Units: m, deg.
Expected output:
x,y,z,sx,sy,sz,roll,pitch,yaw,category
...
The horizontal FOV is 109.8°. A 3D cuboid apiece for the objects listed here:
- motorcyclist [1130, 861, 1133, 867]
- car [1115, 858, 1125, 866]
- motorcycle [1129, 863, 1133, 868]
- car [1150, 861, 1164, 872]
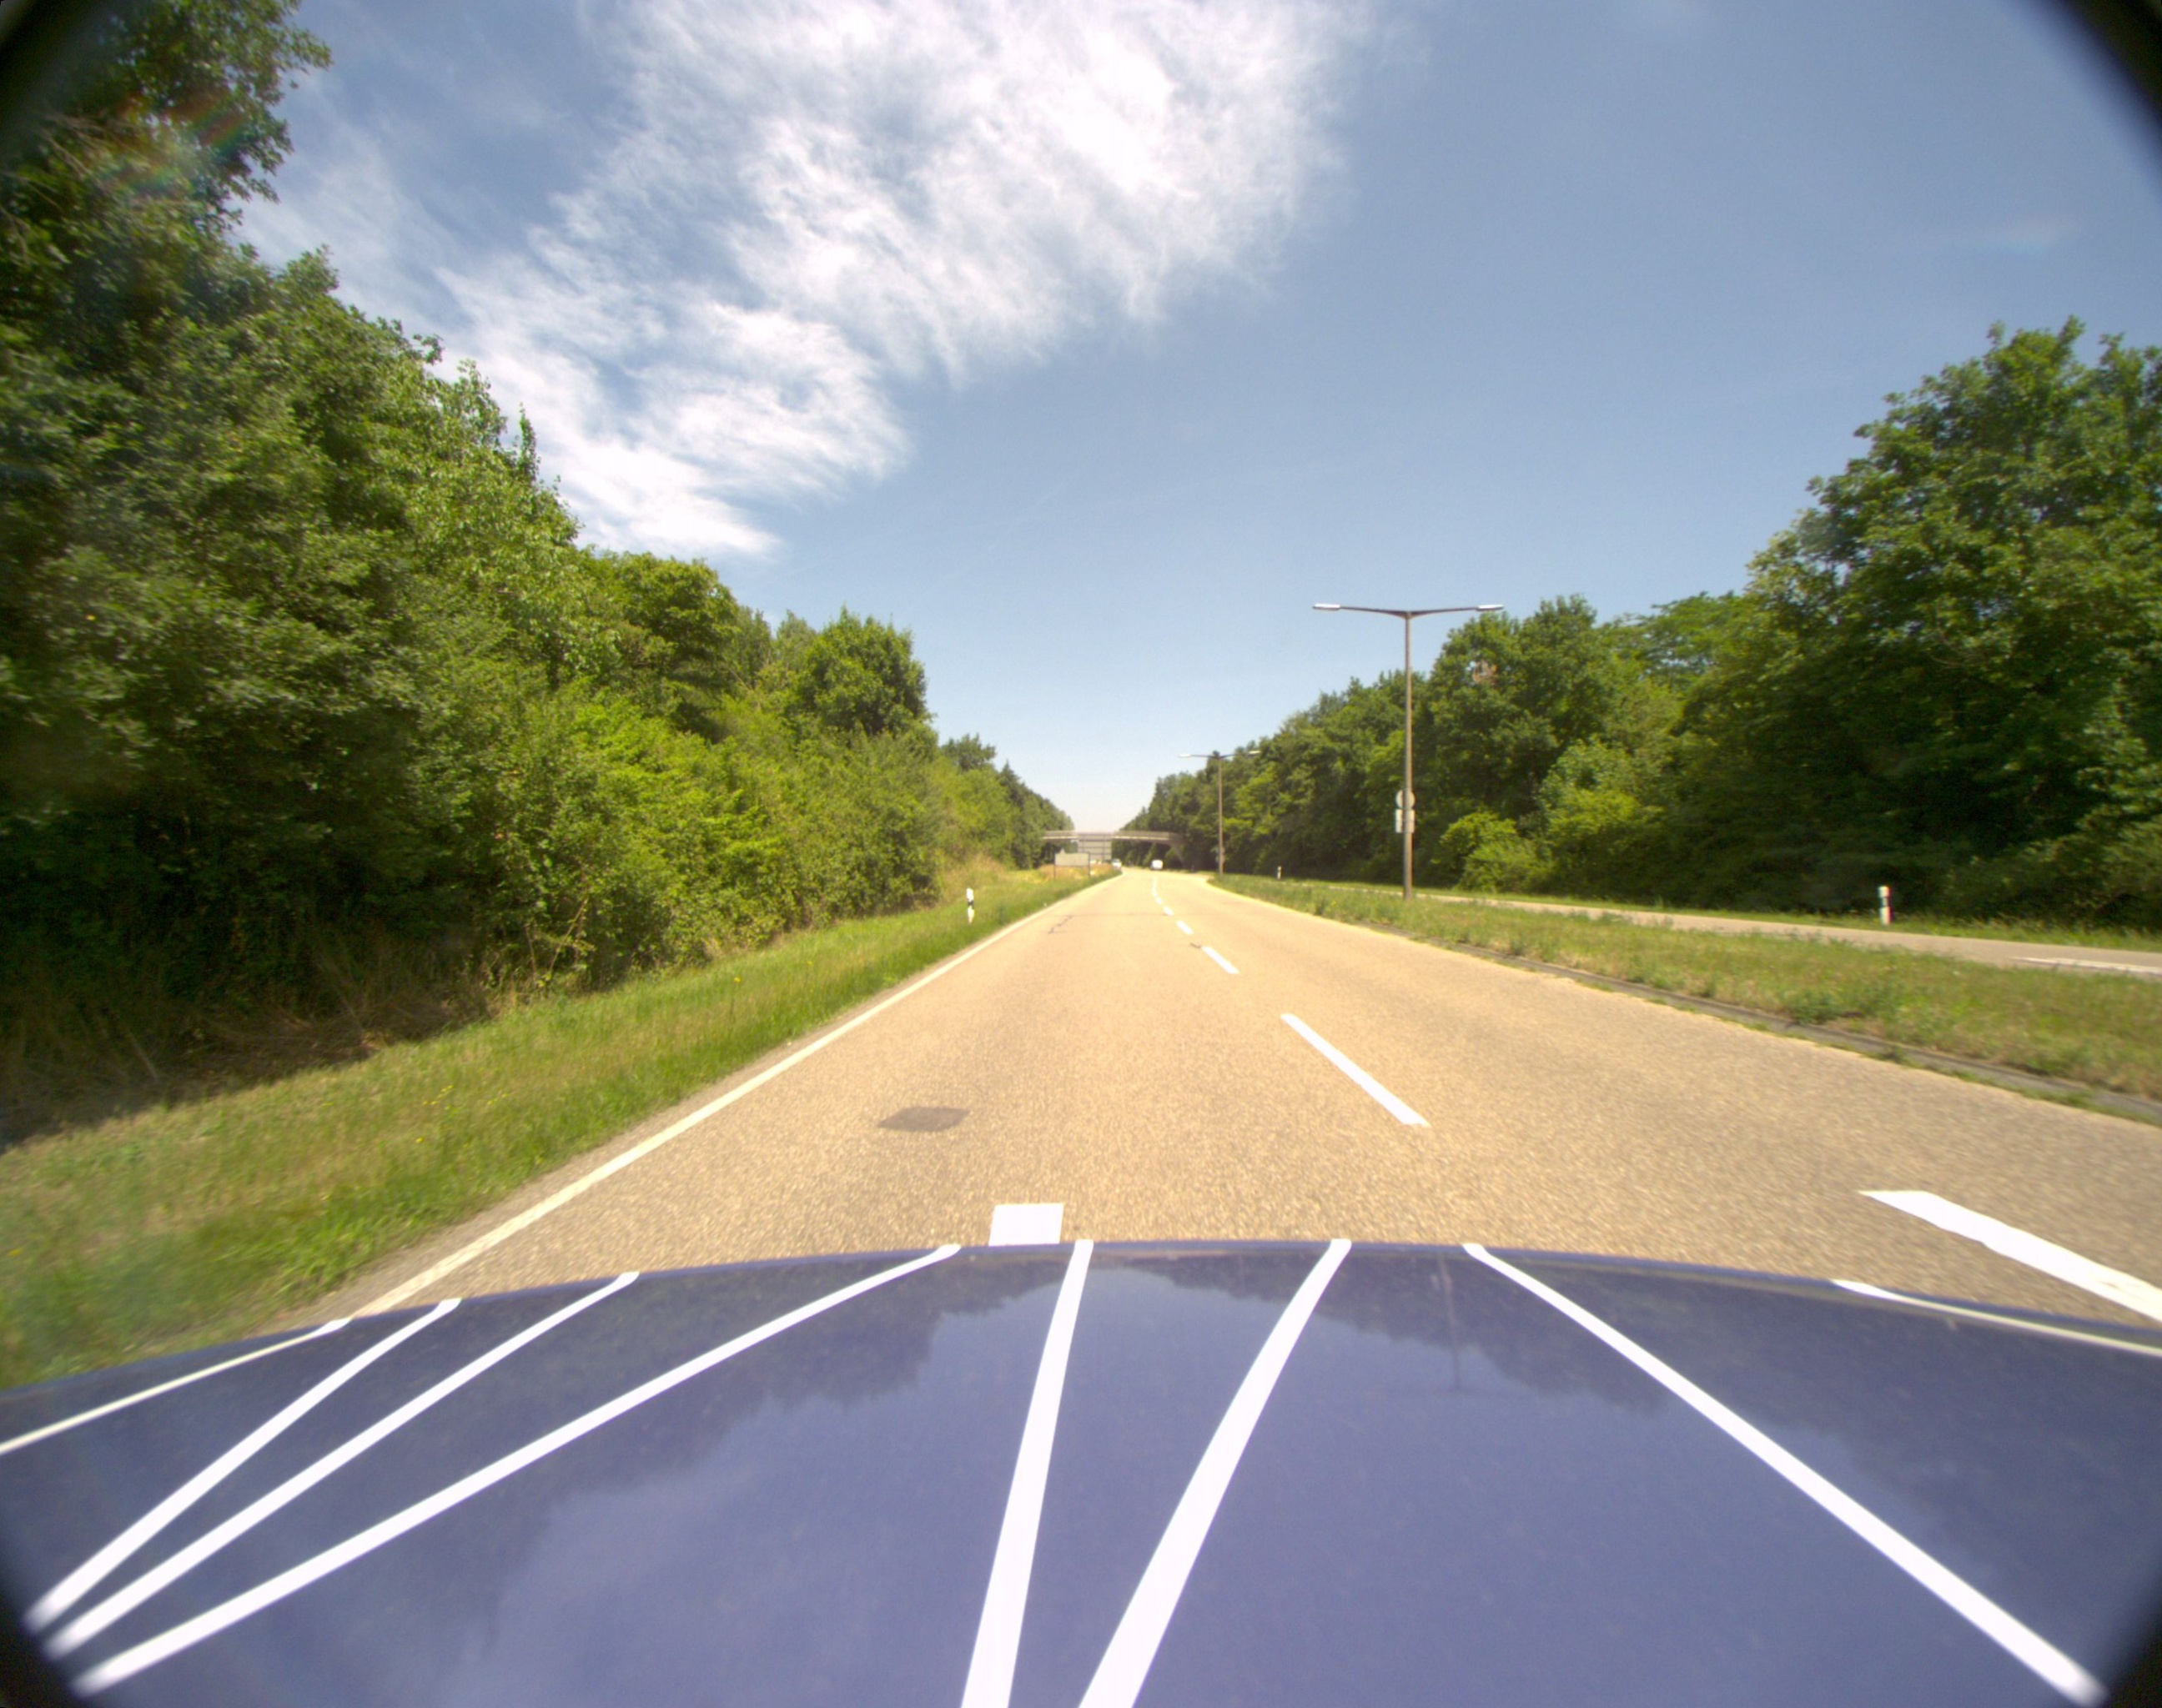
x,y,z,sx,sy,sz,roll,pitch,yaw,category
12.257,2.509,185.141,0.672,1.467,0.813,1,0,-3,motorcyclist
8.288,1.759,162.847,1.865,1.747,3.999,1,0,-1,car
12.256,2.791,185.196,0.672,1.167,2.231,1,0,-2,motorcycle
13.041,2.126,130.609,1.736,1.678,4.095,2,0,-1,car
